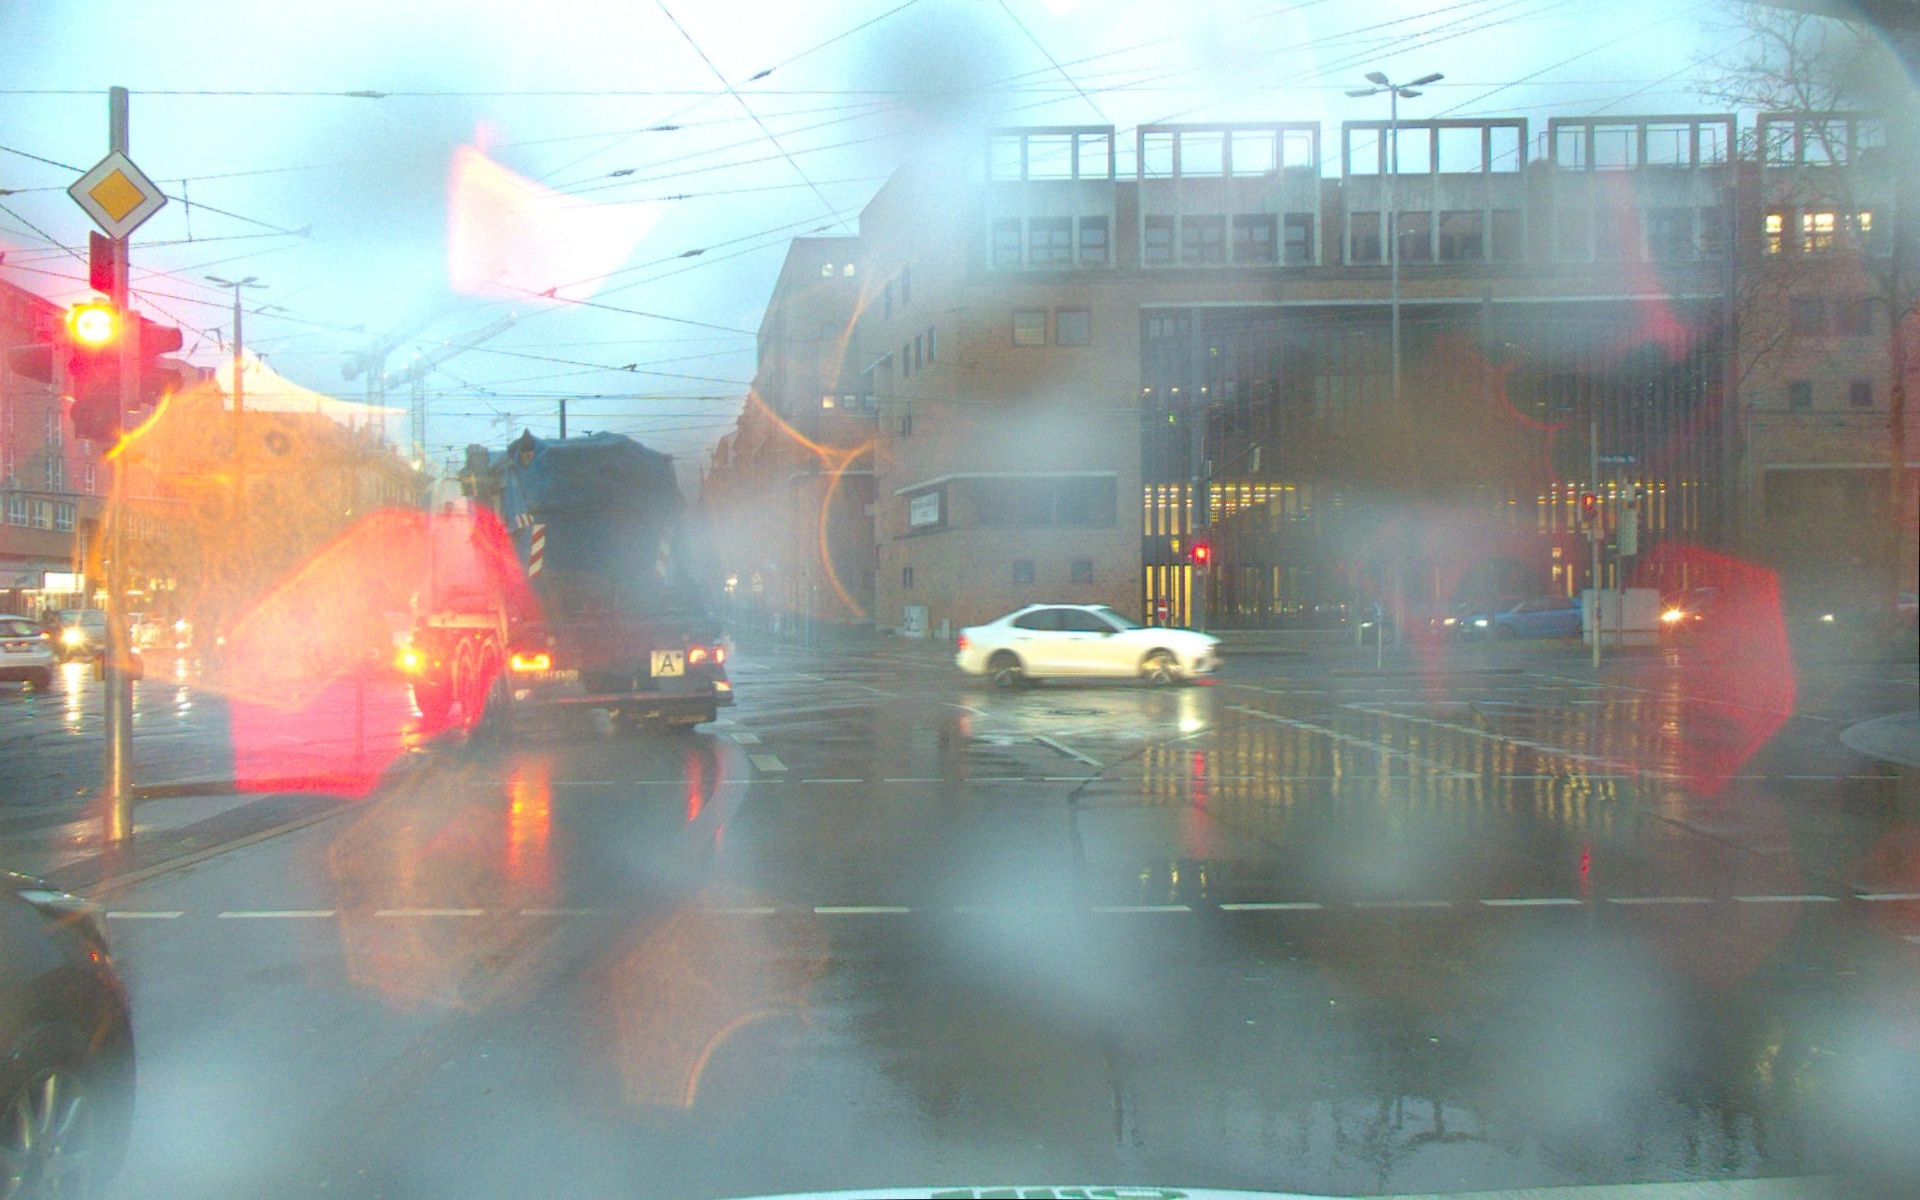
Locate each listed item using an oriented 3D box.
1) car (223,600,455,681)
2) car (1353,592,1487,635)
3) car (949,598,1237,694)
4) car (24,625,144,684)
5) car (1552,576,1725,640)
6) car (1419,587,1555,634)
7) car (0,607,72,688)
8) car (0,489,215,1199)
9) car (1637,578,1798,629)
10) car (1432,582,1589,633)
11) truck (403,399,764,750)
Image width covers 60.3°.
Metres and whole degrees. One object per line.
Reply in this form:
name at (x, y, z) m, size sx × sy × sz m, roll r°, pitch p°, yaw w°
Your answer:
car at (-13.497, 0.842, 35.862) m, size 4.898 × 1.635 × 2.248 m, roll -1°, pitch 0°, yaw 33°
car at (15.533, 0.449, 55.964) m, size 3.909 × 1.333 × 1.998 m, roll -1°, pitch 0°, yaw -5°
car at (2.381, 0.801, 29.479) m, size 4.718 × 1.588 × 2.051 m, roll -1°, pitch 0°, yaw 21°
car at (-25.617, 1.562, 48.333) m, size 4.009 × 1.579 × 1.986 m, roll -1°, pitch 0°, yaw 45°
car at (18.224, 0.204, 44.512) m, size 3.910 × 1.530 × 1.846 m, roll -1°, pitch 4°, yaw -7°
car at (16.597, 0.316, 52.153) m, size 3.649 × 1.284 × 1.846 m, roll -1°, pitch 4°, yaw -7°
car at (-19.001, 0.905, 32.315) m, size 3.929 × 1.473 × 1.701 m, roll -1°, pitch 0°, yaw 42°
car at (-2.586, 0.610, 1.969) m, size 1.596 × 1.550 × 3.942 m, roll -1°, pitch 1°, yaw 0°
car at (22.342, 0.090, 48.862) m, size 3.910 × 1.310 × 1.846 m, roll -1°, pitch 4°, yaw -7°
car at (15.971, 0.208, 48.057) m, size 3.910 × 1.284 × 1.846 m, roll -1°, pitch 4°, yaw -7°
truck at (-5.165, -0.277, 21.407) m, size 2.806 × 3.697 × 7.460 m, roll -1°, pitch 0°, yaw -27°
